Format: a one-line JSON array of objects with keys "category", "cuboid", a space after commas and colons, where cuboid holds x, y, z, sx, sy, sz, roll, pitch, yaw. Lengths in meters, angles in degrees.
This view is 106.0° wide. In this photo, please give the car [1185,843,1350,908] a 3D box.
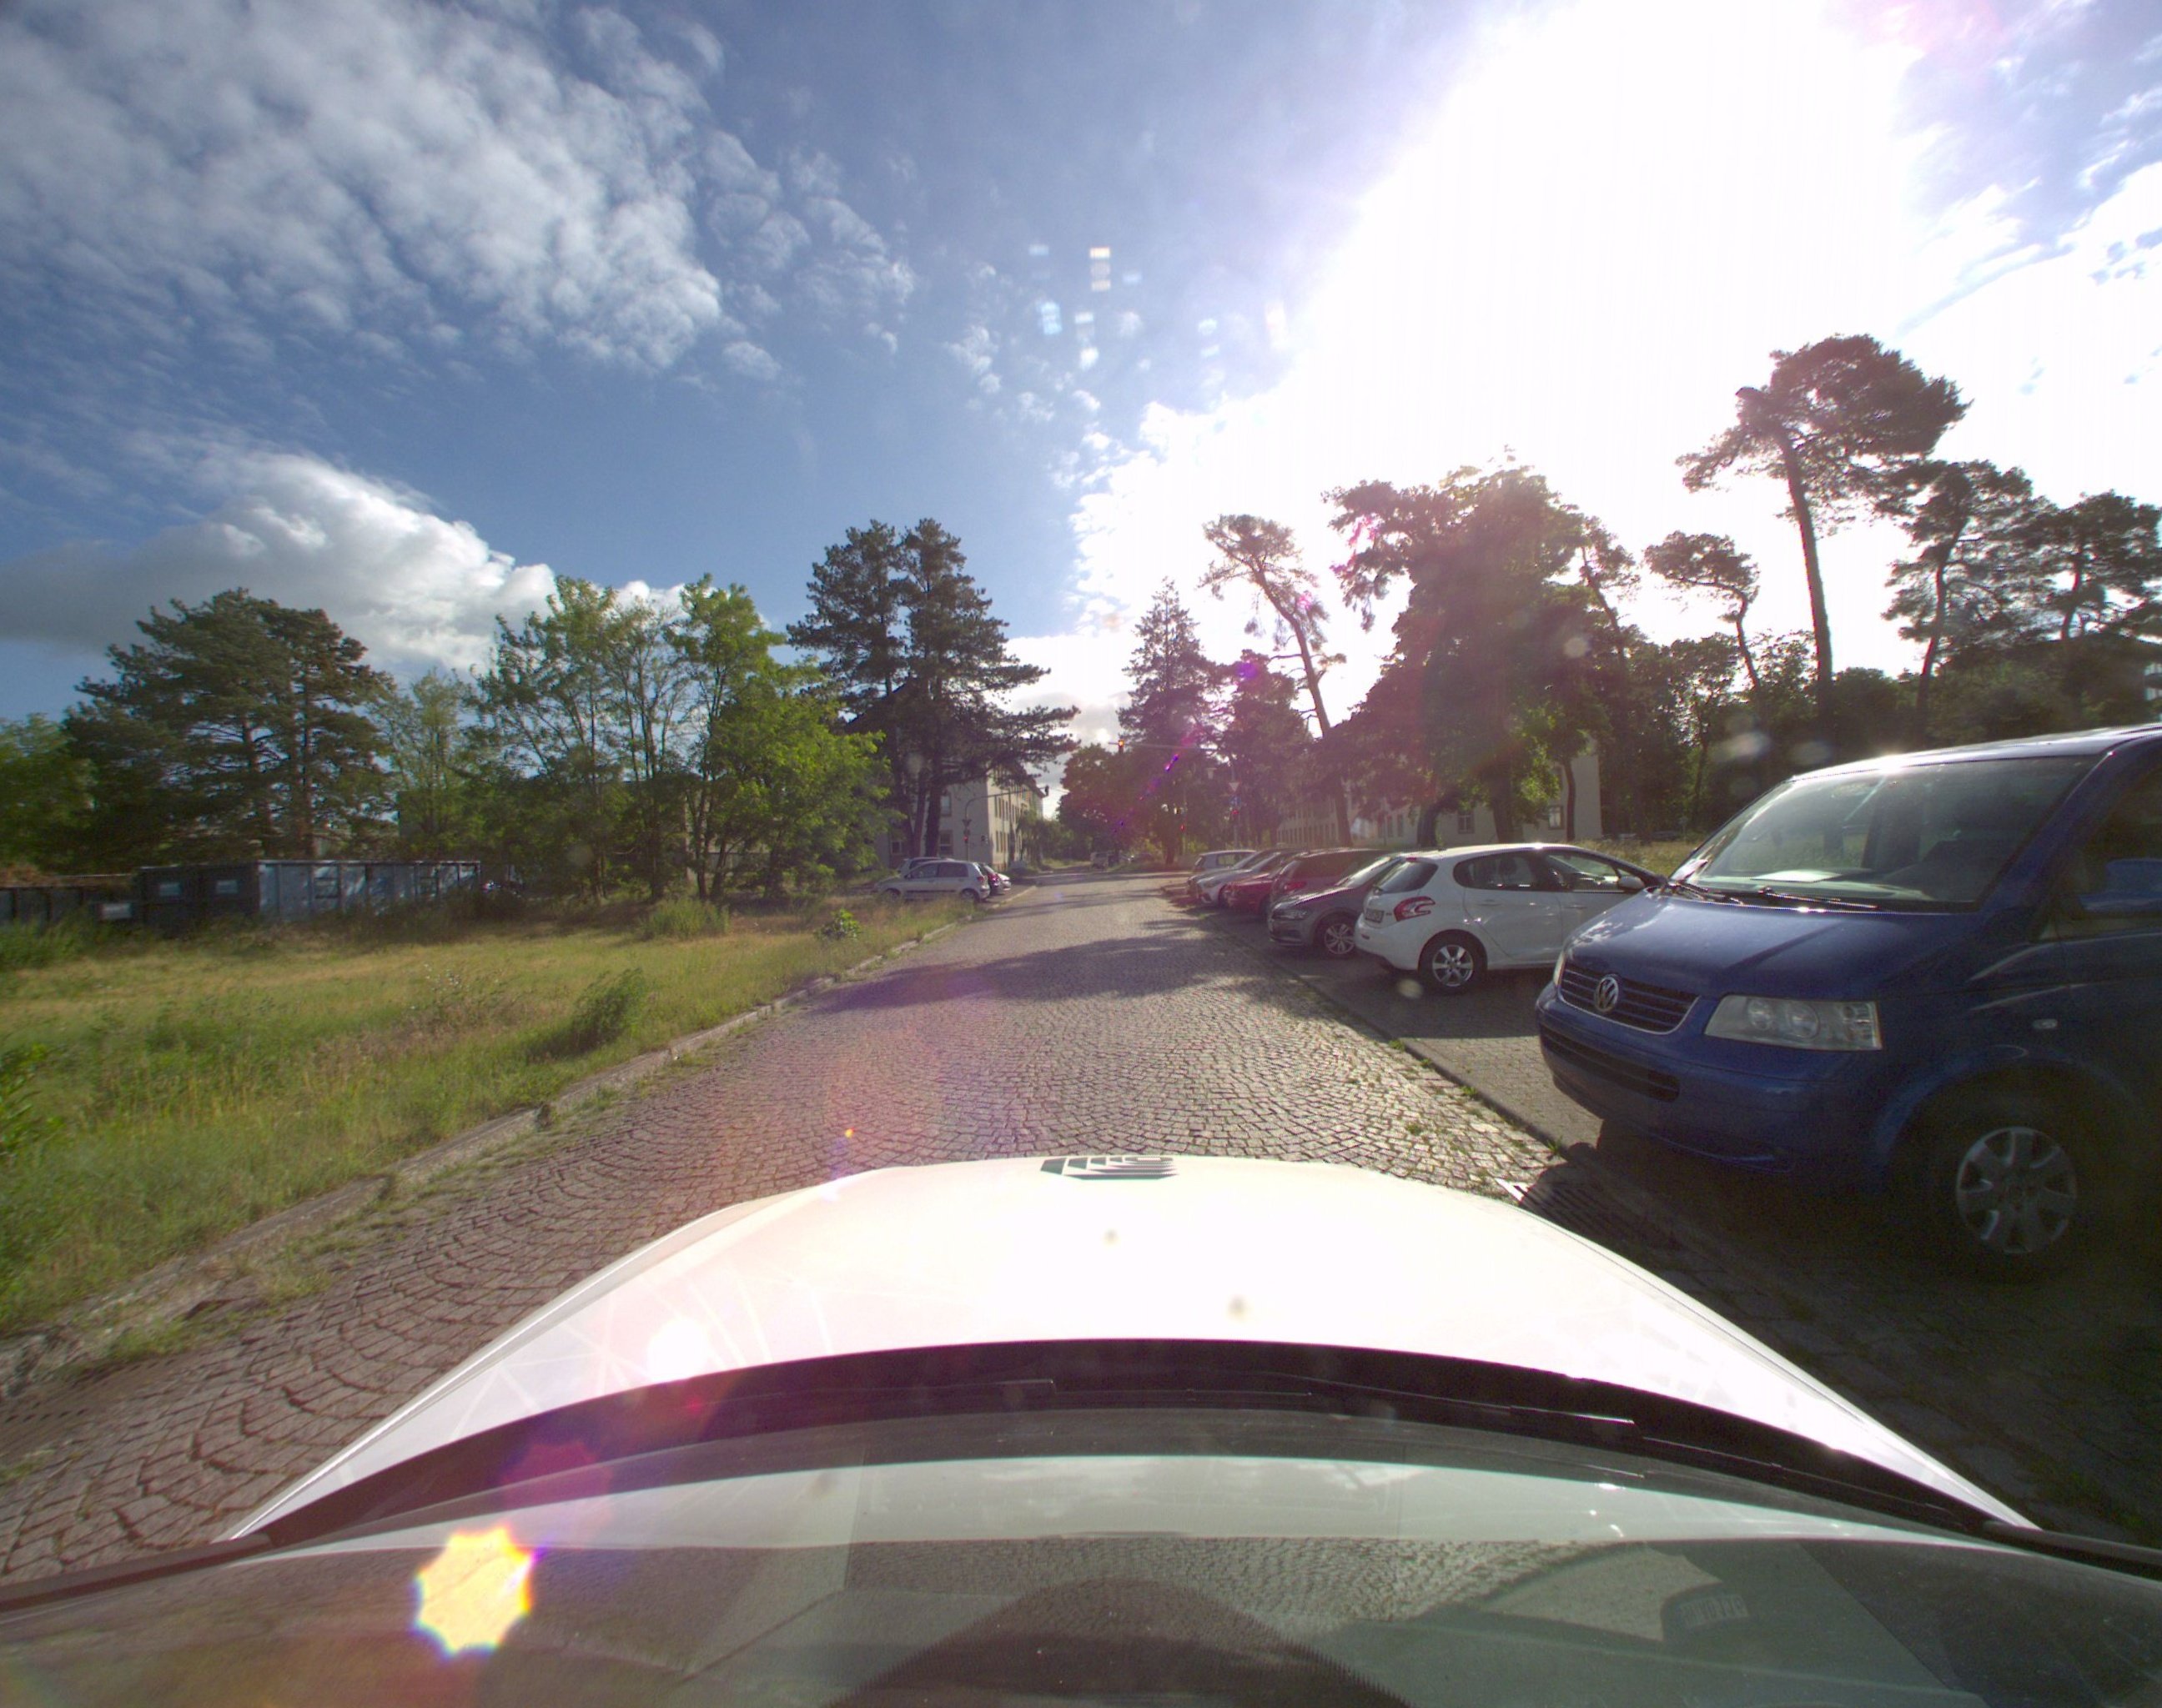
[{"category": "car", "cuboid": [4.987, 0.561, 22.087, 4.024, 1.529, 1.644, -3, 0, -3]}]

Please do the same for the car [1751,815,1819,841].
[{"category": "car", "cuboid": [59.647, -2.176, 69.017, 3.973, 2.013, 2.001, -3, 0, 1]}]

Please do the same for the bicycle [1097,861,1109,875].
[{"category": "bicycle", "cuboid": [1.977, 1.210, 73.097, 0.803, 1.169, 2.177, -4, 0, -4]}]

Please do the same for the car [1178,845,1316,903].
[{"category": "car", "cuboid": [5.008, 0.583, 24.860, 3.823, 1.529, 1.645, -3, 0, 0]}]

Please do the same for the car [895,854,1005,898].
[{"category": "car", "cuboid": [-5.136, 0.841, 32.275, 3.973, 1.601, 2.000, 1, 0, 0]}]

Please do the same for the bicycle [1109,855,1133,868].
[{"category": "bicycle", "cuboid": [3.846, 0.719, 77.671, 2.172, 1.100, 0.804, -2, 0, -9]}]

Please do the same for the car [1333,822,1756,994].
[{"category": "car", "cuboid": [4.922, 0.547, 9.045, 3.680, 1.465, 1.646, -4, 0, 2]}]

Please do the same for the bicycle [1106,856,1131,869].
[{"category": "bicycle", "cuboid": [3.548, 0.779, 76.537, 2.172, 1.100, 0.804, -2, 0, -9]}]

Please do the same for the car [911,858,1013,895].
[{"category": "car", "cuboid": [-4.999, 0.937, 34.674, 3.973, 1.453, 2.000, 0, 0, 0]}]

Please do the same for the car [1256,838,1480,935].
[{"category": "car", "cuboid": [5.123, 0.556, 14.851, 3.467, 1.529, 1.645, -3, 0, 0]}]

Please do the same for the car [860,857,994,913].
[{"category": "car", "cuboid": [-4.990, 0.977, 26.880, 3.976, 1.600, 1.999, -3, 0, -2]}]

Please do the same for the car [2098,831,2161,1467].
[{"category": "car", "cuboid": [4.356, 0.594, 1.194, 3.708, 1.488, 1.645, -3, 0, -1]}]

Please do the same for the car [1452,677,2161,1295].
[{"category": "car", "cuboid": [4.583, 0.360, 3.851, 4.664, 2.013, 2.082, -3, 0, -2]}]

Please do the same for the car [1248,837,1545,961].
[{"category": "car", "cuboid": [4.483, 0.614, 11.940, 3.663, 1.467, 1.645, -3, 0, 0]}]

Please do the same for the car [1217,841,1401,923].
[{"category": "car", "cuboid": [4.813, 0.568, 17.548, 3.467, 1.529, 1.645, -3, 0, 0]}]

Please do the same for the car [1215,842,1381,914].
[{"category": "car", "cuboid": [5.217, 0.551, 19.901, 3.591, 1.529, 1.645, -3, 0, 0]}]

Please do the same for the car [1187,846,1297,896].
[{"category": "car", "cuboid": [5.377, 0.544, 27.495, 3.333, 1.482, 1.645, -3, 0, 0]}]

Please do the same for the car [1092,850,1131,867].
[{"category": "car", "cuboid": [3.489, 0.495, 94.018, 4.465, 1.728, 2.000, -2, 0, 0]}]
